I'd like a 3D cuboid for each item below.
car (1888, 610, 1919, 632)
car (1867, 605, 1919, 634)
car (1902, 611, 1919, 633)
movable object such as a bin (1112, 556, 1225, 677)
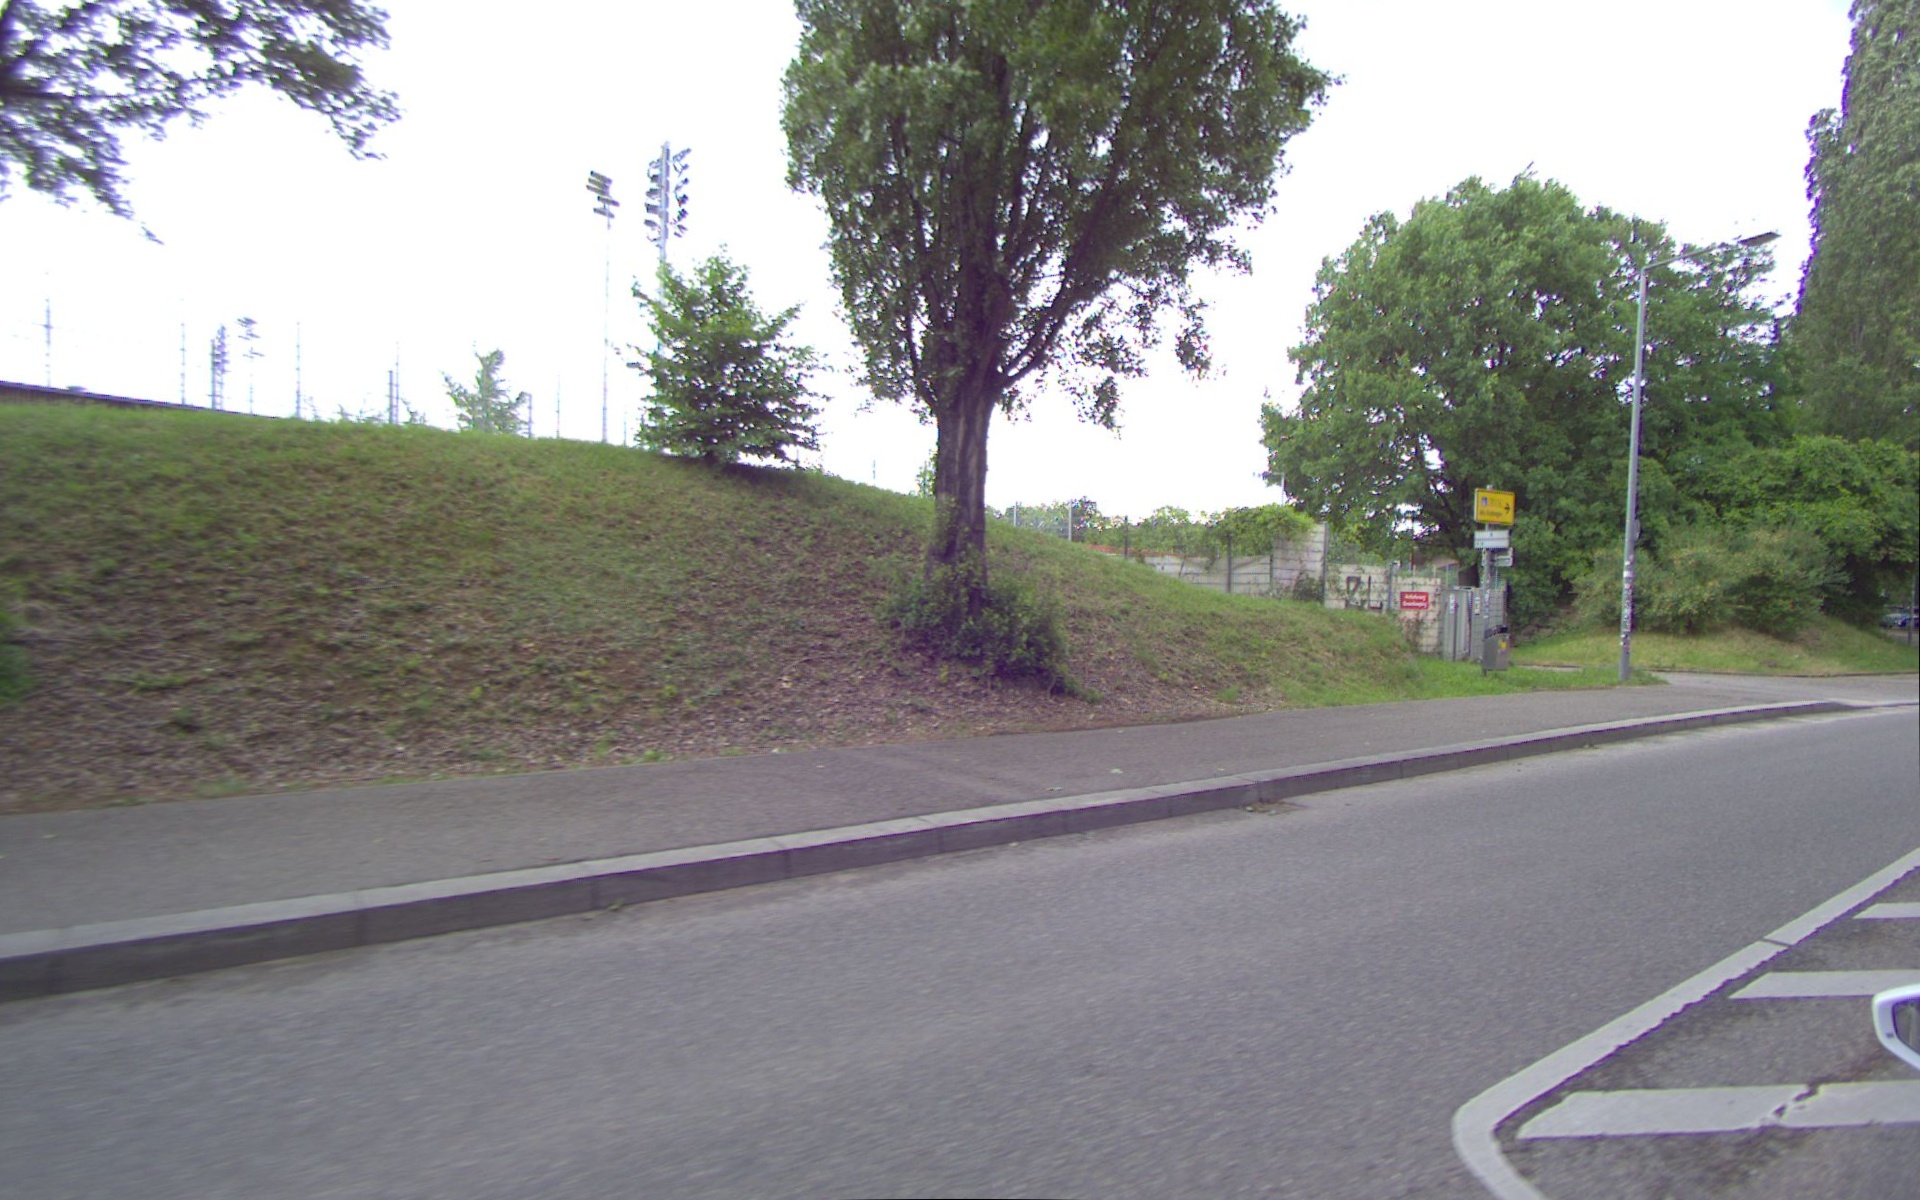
[{"bbox_3d":[67.512,1.462,70.213,3.814,1.494,1.792,1,0,-6],"label":"car"},{"bbox_3d":[68.549,1.409,72.733,4.219,1.824,1.846,-4,-1,-4],"label":"car"},{"bbox_3d":[65.933,1.496,66.978,4.557,1.454,1.999,1,-1,-5],"label":"car"},{"bbox_3d":[5.313,0.396,25.191,1.988,2.758,4.230,1,-1,22],"label":"movable object such as a bin"}]
